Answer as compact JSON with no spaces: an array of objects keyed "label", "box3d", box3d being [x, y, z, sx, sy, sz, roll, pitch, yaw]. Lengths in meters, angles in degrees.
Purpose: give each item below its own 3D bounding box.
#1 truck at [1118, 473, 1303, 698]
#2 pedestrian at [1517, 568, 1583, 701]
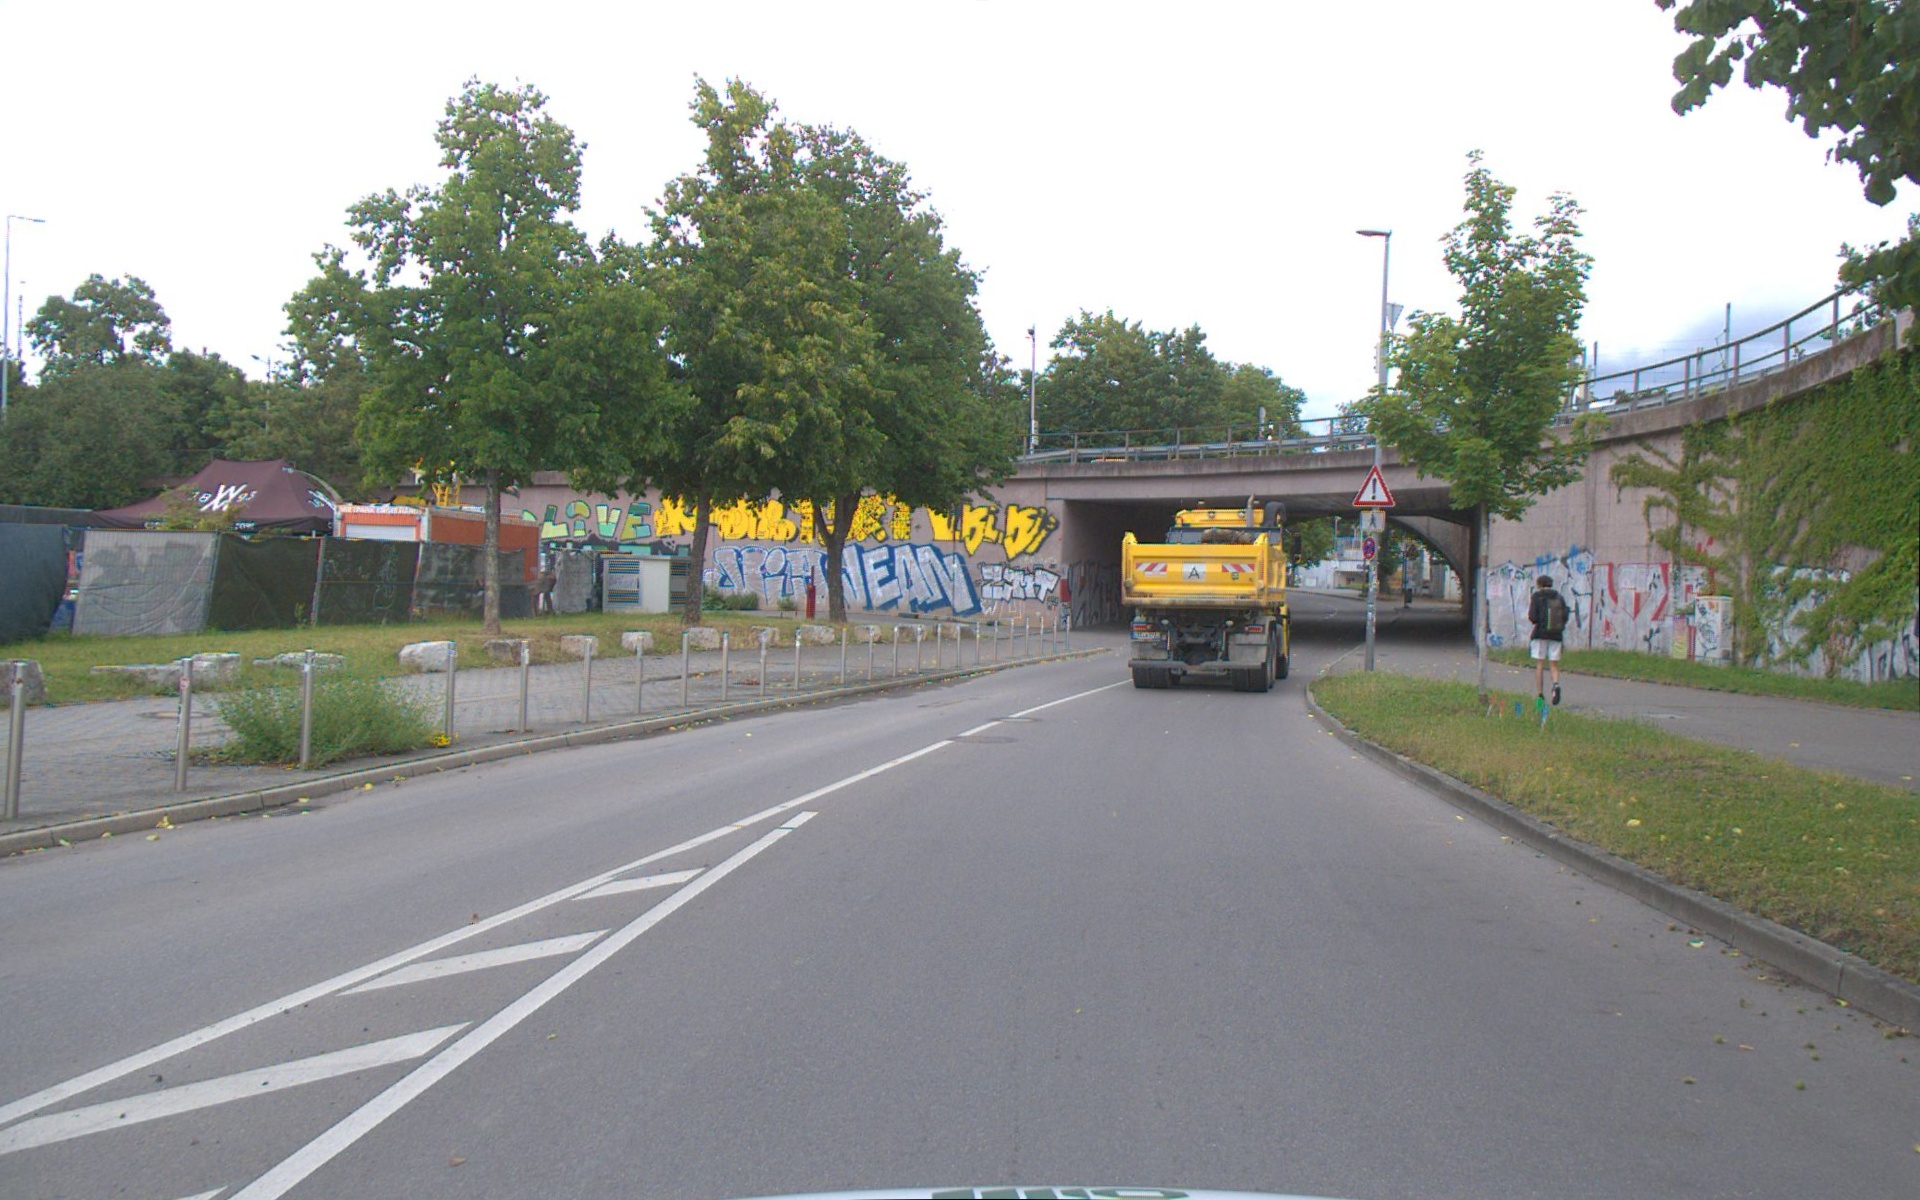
[{"label":"truck","box3d":[5.068,-0.251,32.207,2.699,3.763,7.886,2,0,14]},{"label":"pedestrian","box3d":[8.806,0.506,24.714,0.719,1.940,0.826,1,0,6]}]
